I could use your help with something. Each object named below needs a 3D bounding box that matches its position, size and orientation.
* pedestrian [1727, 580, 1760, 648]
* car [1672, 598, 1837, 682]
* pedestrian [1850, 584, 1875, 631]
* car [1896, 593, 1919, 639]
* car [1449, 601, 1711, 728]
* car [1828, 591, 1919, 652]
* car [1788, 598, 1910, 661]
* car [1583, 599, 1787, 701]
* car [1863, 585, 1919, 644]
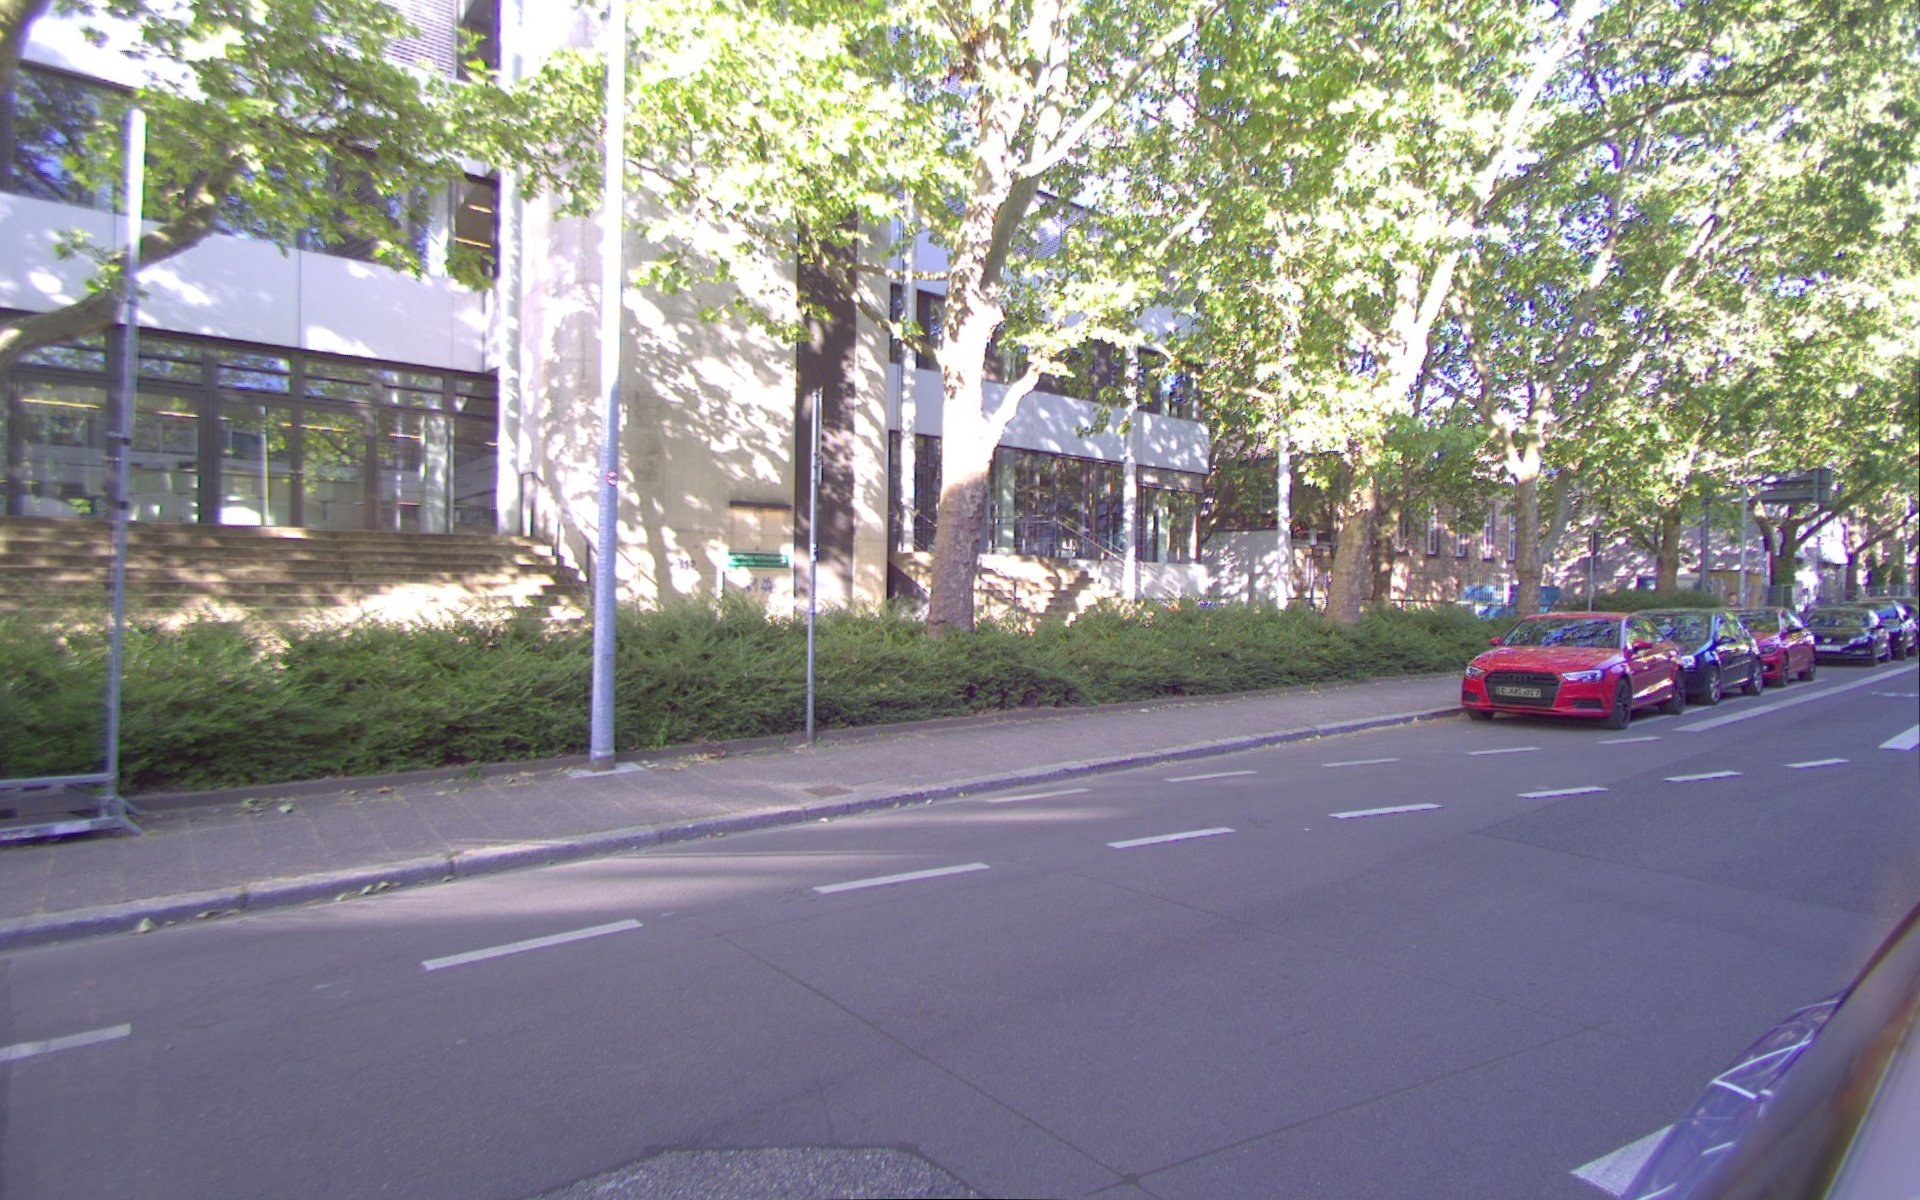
[{"bbox_3d":[21.133,0.369,27.300,0.583,1.818,0.600,0,0,-41],"label":"pedestrian"},{"bbox_3d":[15.835,0.707,20.100,4.095,1.486,1.834,0,0,-41],"label":"car"},{"bbox_3d":[36.228,0.297,40.624,0.629,1.884,0.660,0,0,-41],"label":"pedestrian"},{"bbox_3d":[35.906,0.580,37.100,4.183,1.634,1.834,0,0,-40],"label":"car"},{"bbox_3d":[8.400,0.735,13.569,4.173,1.422,1.834,0,0,-41],"label":"car"},{"bbox_3d":[26.557,0.571,29.085,4.088,1.626,1.834,0,0,-40],"label":"car"},{"bbox_3d":[22.868,0.701,25.991,4.095,1.486,1.834,0,0,-41],"label":"car"},{"bbox_3d":[12.020,0.717,16.685,4.095,1.464,1.834,0,0,-41],"label":"car"},{"bbox_3d":[31.043,0.437,32.975,4.383,1.820,1.834,0,0,-40],"label":"car"}]
